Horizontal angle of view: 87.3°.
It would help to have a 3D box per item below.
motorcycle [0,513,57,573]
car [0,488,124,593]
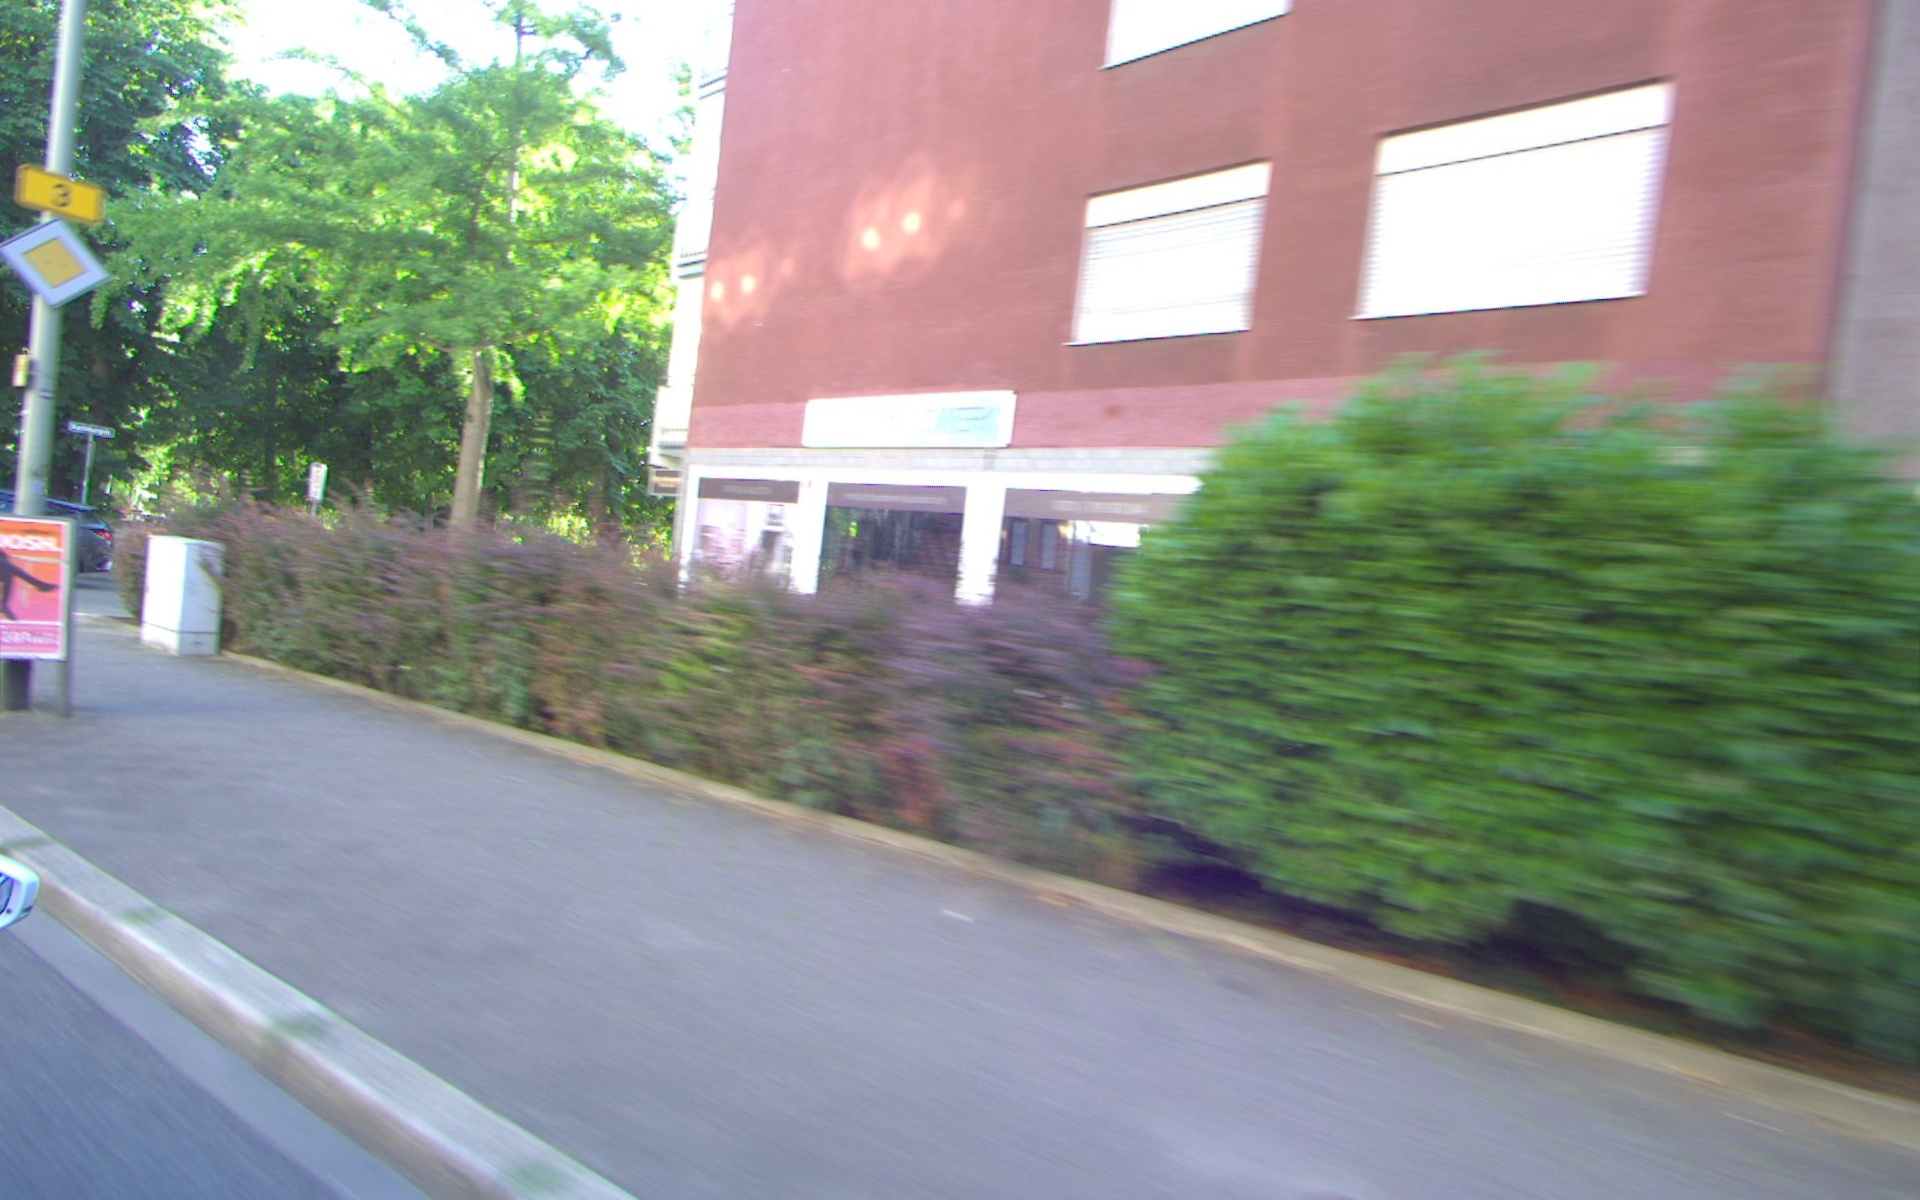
[{"bbox_3d":[-20.390,-1.269,21.127,0.777,1.126,1.907,8,0,34],"label":"motorcycle"},{"bbox_3d":[-18.223,-1.283,18.176,1.971,1.673,4.433,8,0,40],"label":"car"}]
